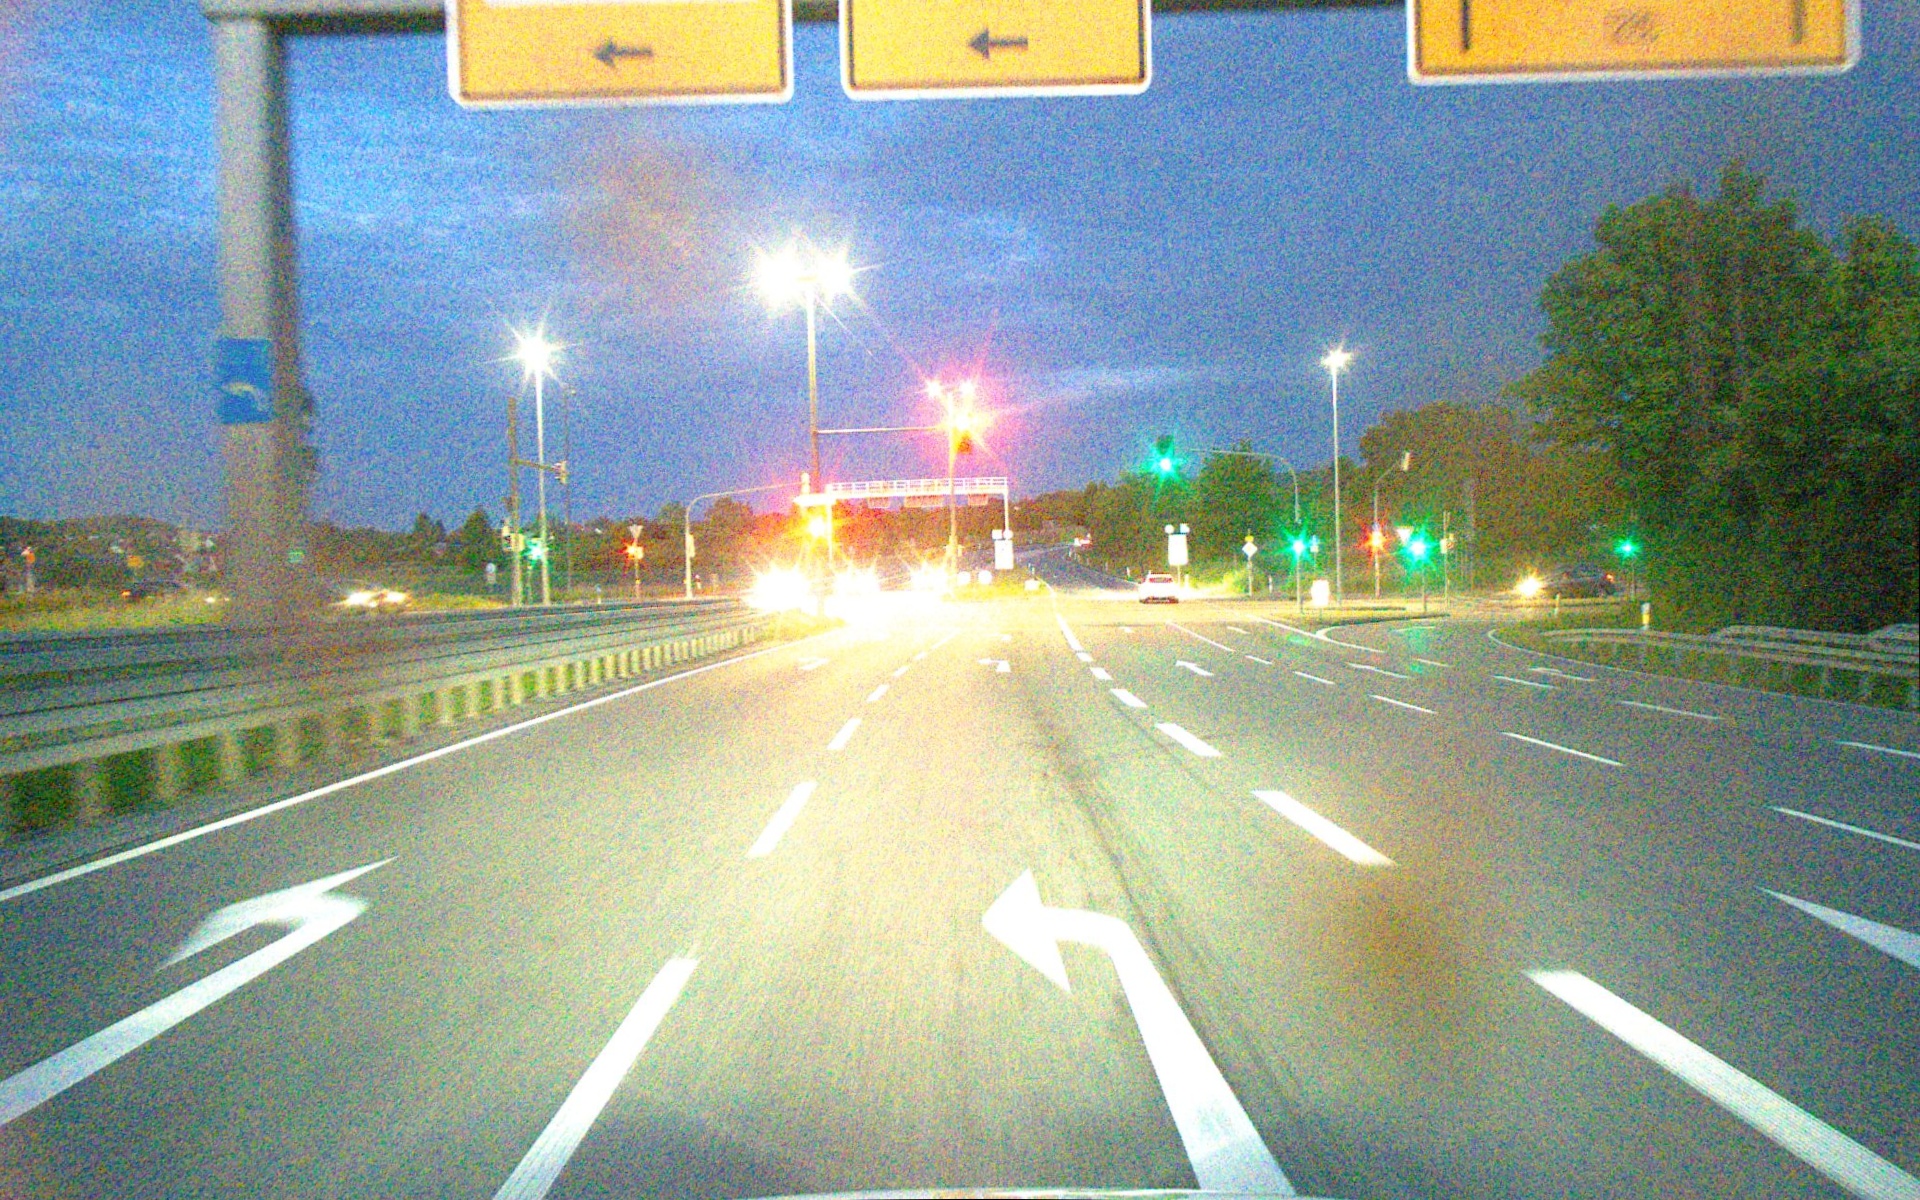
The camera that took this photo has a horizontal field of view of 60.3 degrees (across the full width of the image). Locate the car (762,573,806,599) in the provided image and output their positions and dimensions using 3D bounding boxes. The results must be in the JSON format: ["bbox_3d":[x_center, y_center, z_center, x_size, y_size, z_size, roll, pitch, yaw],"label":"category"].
[{"bbox_3d":[-10.288,-0.833,96.766,1.952,1.450,4.534,0,1,2],"label":"car"}]

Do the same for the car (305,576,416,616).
[{"bbox_3d":[-24.964,-0.189,68.904,3.958,1.564,1.729,-1,1,0],"label":"car"}]

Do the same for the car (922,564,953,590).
[{"bbox_3d":[-1.575,-1.628,116.566,1.952,1.727,4.002,-1,2,2],"label":"car"}]

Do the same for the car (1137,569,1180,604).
[{"bbox_3d":[9.824,-0.676,81.910,1.965,1.639,3.848,1,1,5],"label":"car"}]

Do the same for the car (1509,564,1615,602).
[{"bbox_3d":[26.688,-0.756,73.444,3.990,1.596,2.002,-1,1,-1],"label":"car"}]

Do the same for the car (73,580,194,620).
[{"bbox_3d":[-33.054,-0.002,66.199,3.908,1.499,1.728,-1,1,-3],"label":"car"}]

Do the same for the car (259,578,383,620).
[{"bbox_3d":[-25.342,-0.066,65.653,4.224,1.564,1.730,-1,1,1],"label":"car"}]

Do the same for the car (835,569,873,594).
[{"bbox_3d":[-6.620,-1.191,103.813,1.952,1.507,4.683,0,1,2],"label":"car"}]
